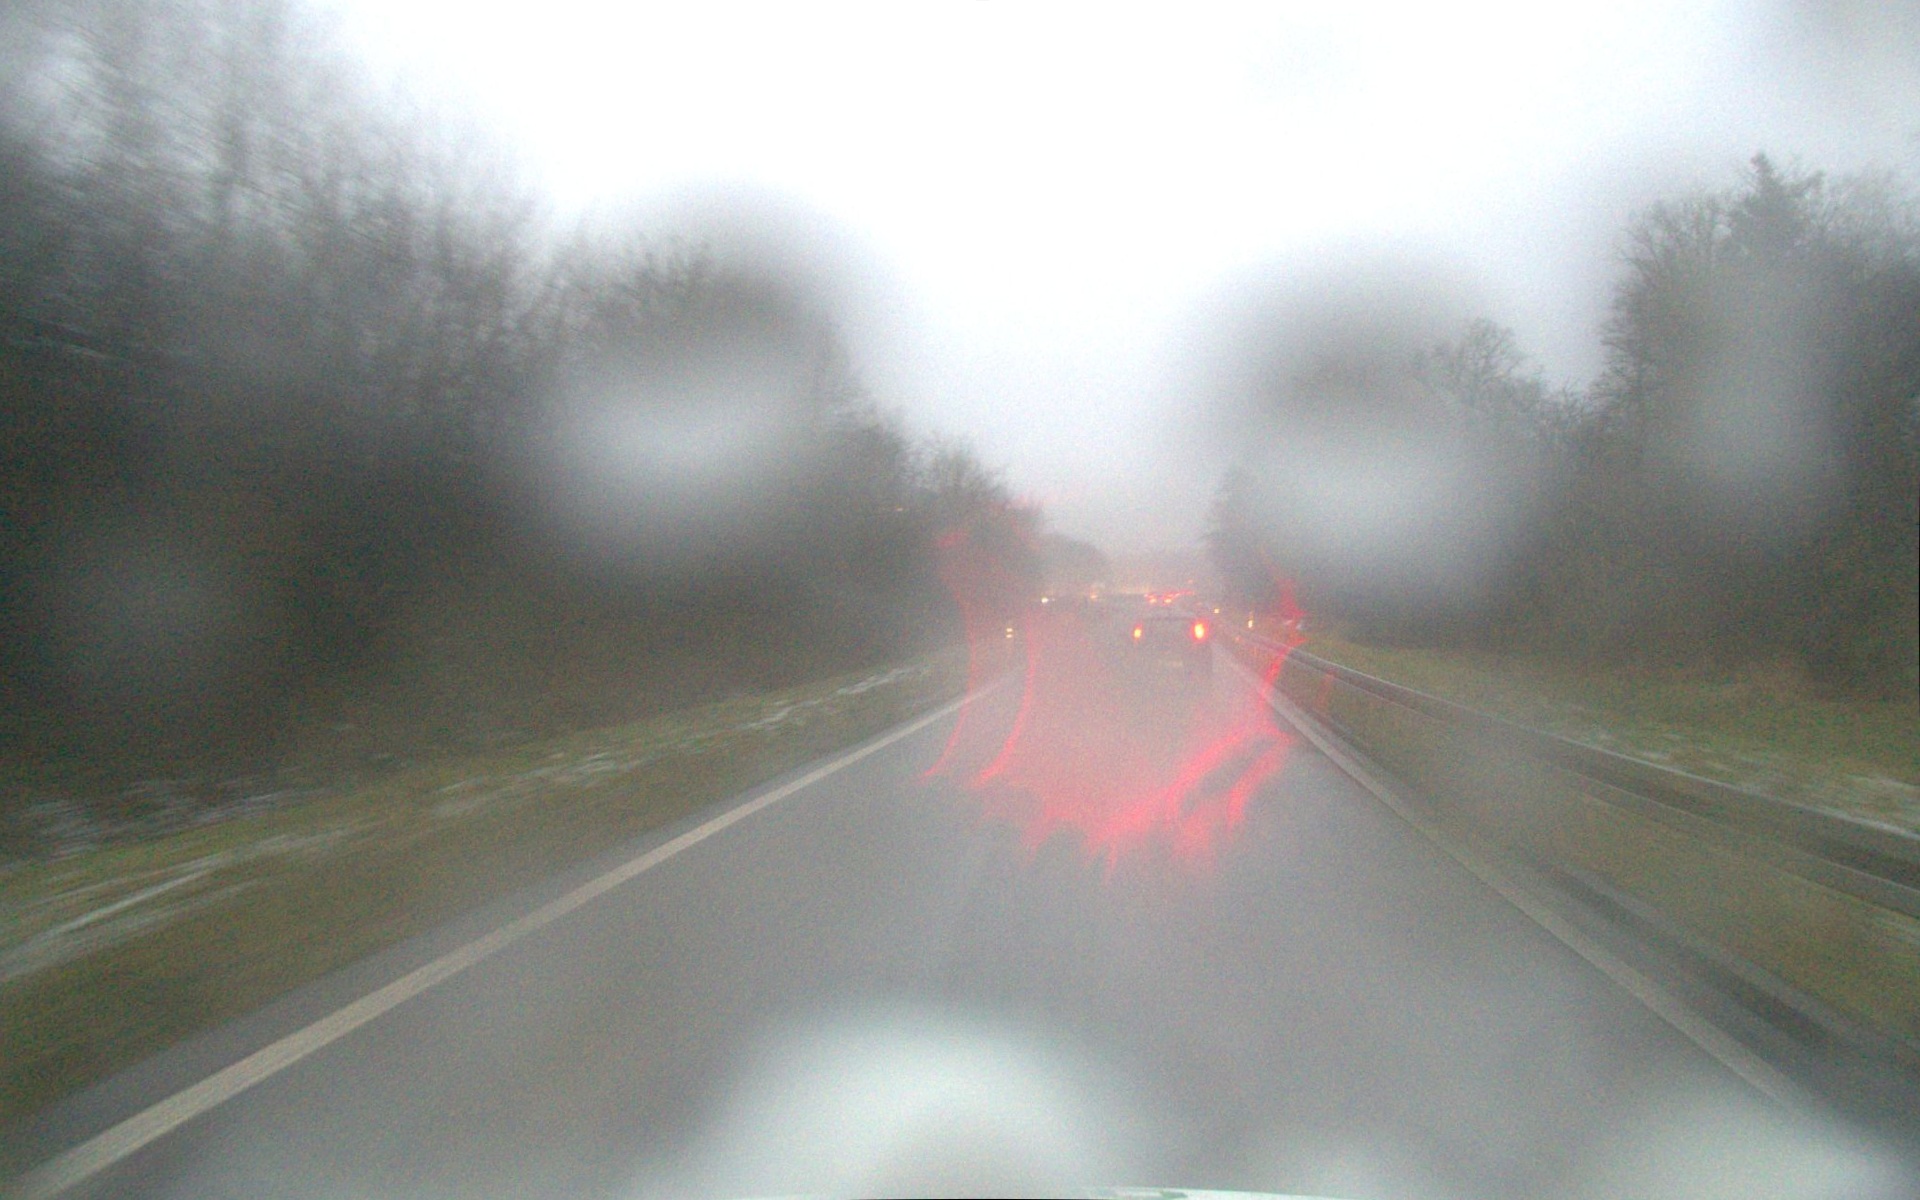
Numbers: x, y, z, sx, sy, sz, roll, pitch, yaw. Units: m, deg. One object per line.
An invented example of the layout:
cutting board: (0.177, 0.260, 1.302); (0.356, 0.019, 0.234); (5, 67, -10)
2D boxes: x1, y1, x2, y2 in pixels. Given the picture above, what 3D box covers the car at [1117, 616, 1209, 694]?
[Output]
car: (3.990, 1.045, 32.640); (1.695, 1.454, 3.768); (0, -1, 6)
